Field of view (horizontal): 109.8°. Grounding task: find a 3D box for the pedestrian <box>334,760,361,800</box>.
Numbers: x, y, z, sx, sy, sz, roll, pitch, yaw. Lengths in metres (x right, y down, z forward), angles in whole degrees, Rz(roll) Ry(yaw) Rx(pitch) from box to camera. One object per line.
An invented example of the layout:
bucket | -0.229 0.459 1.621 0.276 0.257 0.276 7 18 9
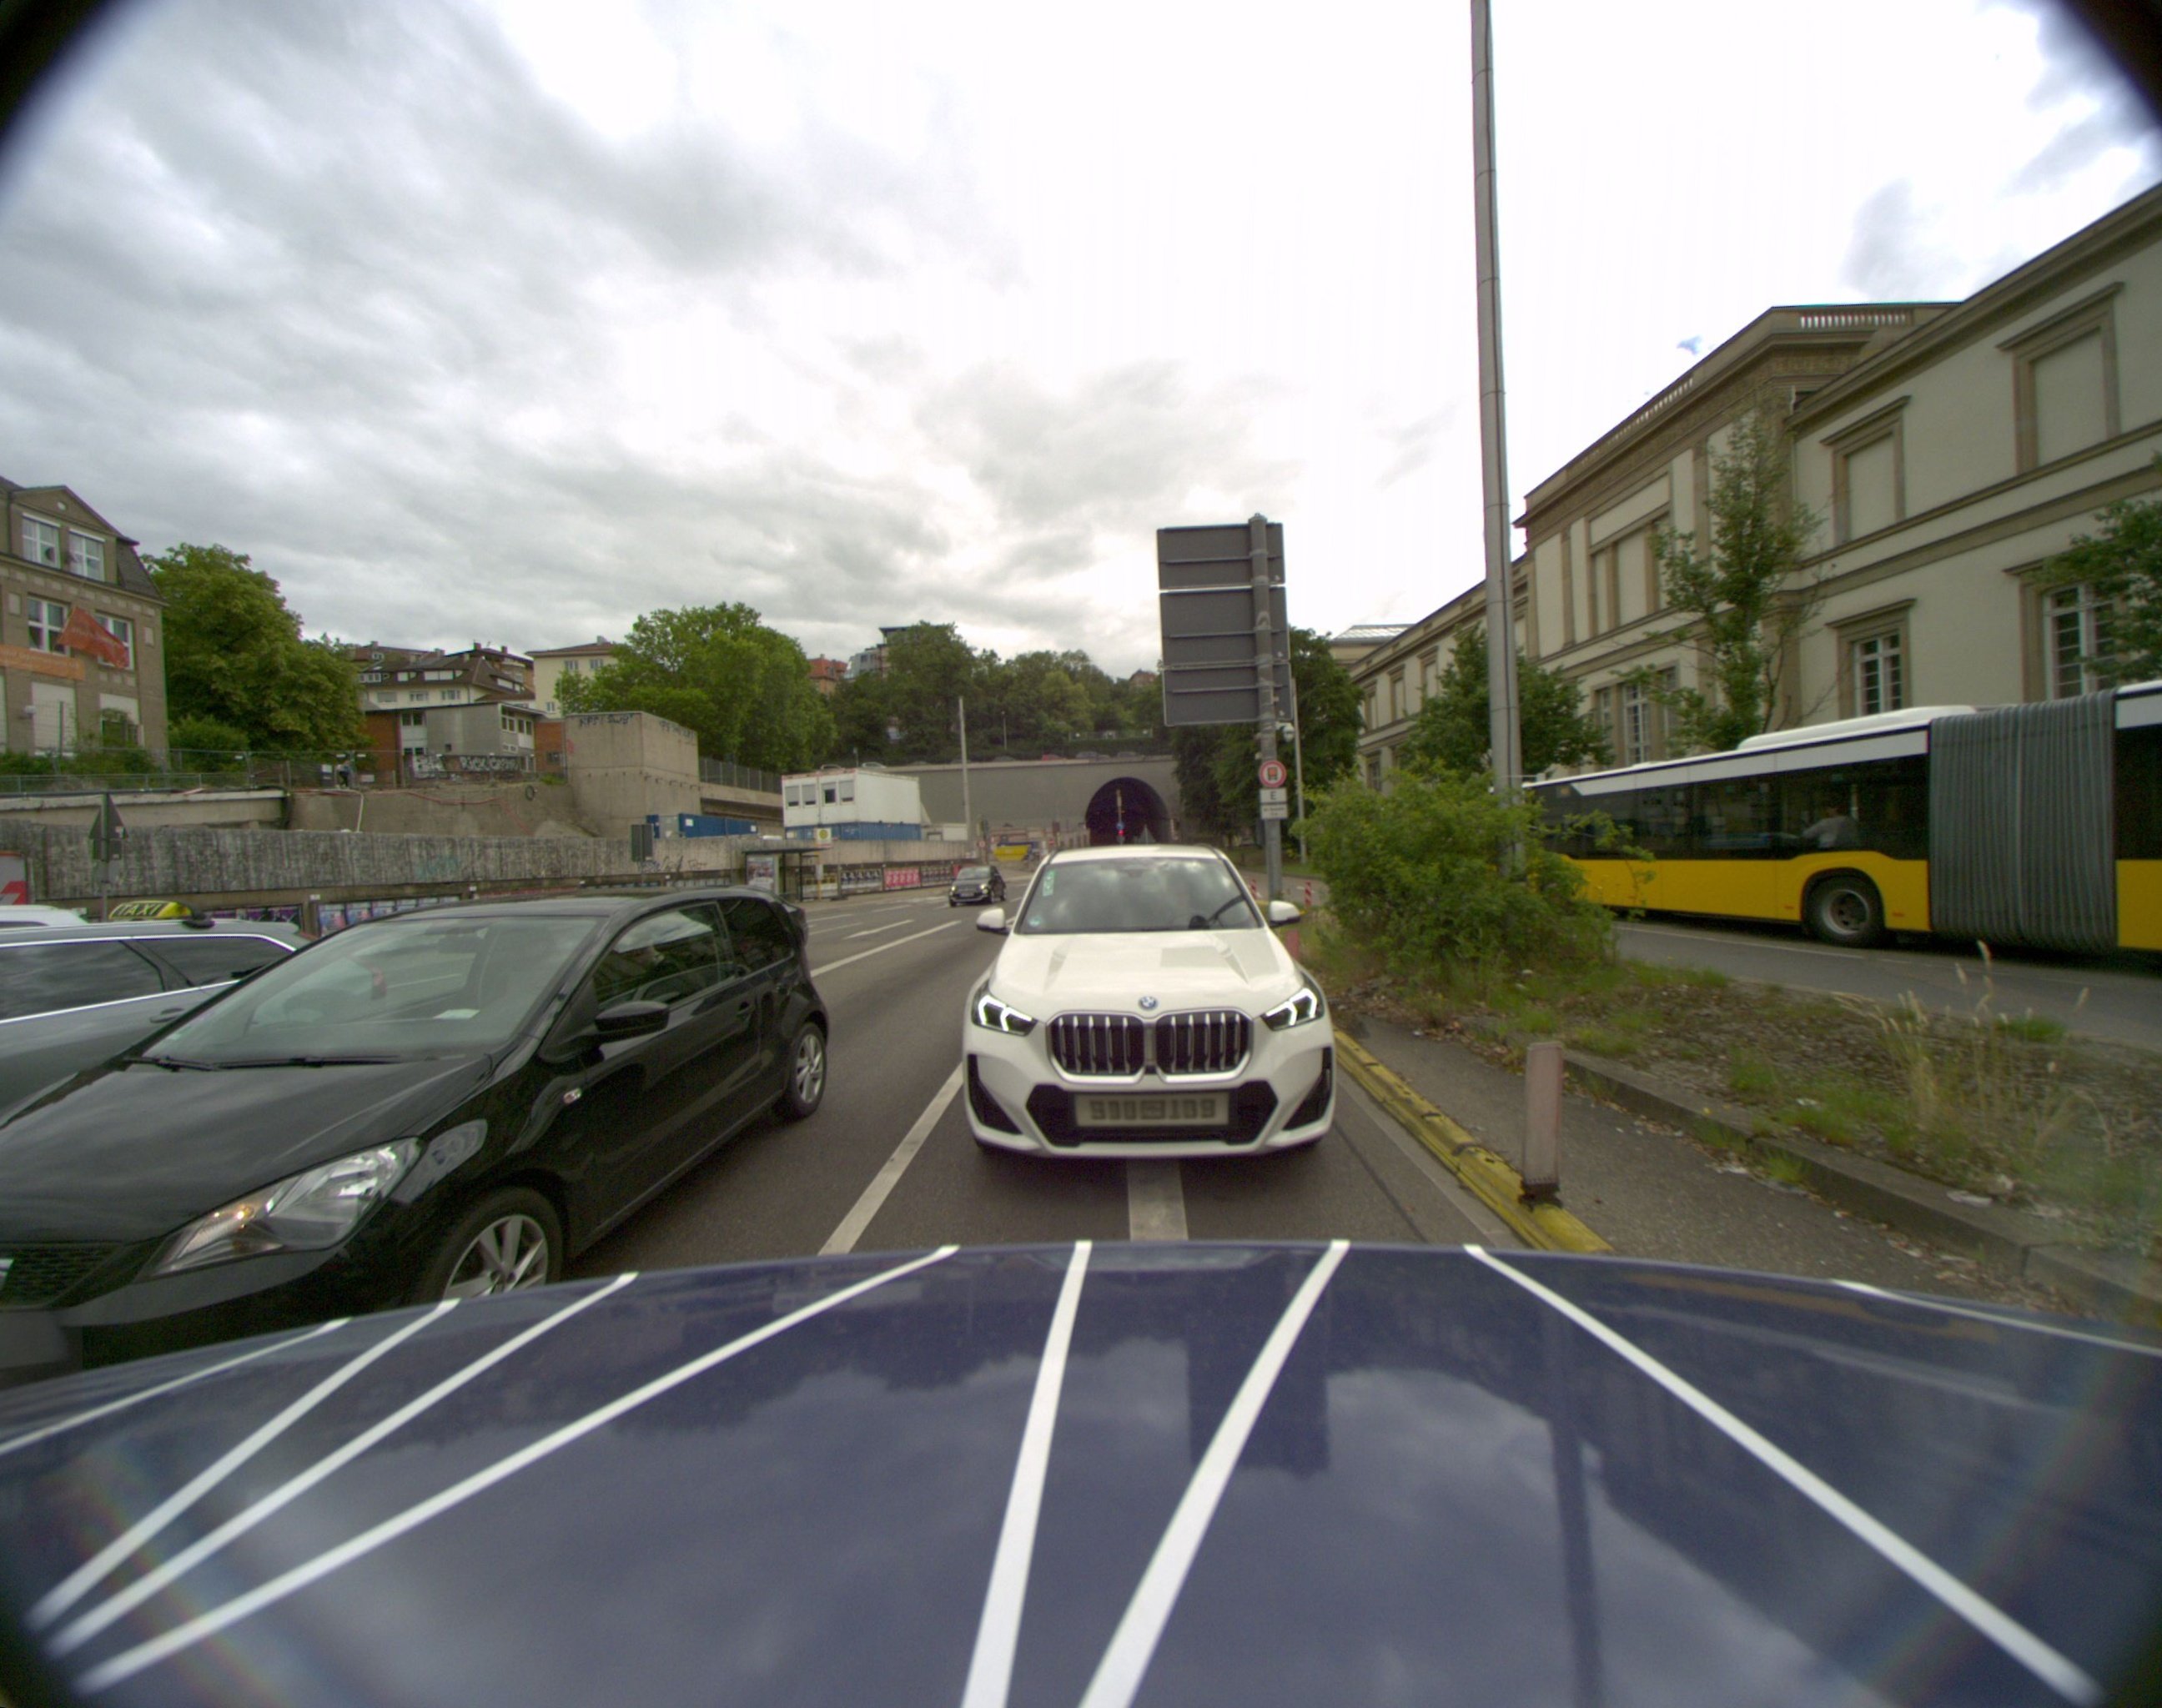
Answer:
pedestrian | -37.993 -3.844 39.361 0.646 2.002 0.666 -2 1 -3

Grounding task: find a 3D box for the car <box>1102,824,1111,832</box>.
car | 5.525 -5.723 167.072 1.711 1.505 4.287 0 0 -3

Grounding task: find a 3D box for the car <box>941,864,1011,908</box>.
car | -3.927 1.167 29.106 1.730 1.435 4.001 -3 0 5

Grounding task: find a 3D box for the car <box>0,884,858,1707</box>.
car | -2.500 1.002 3.413 1.667 1.487 3.882 -3 0 2

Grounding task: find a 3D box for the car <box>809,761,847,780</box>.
car | -31.054 -10.244 93.314 3.998 2.002 1.999 -2 1 -5

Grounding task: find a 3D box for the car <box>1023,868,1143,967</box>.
car | 0.061 0.990 13.305 1.728 1.310 4.000 -3 0 1

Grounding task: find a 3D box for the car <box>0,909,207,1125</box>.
car | -9.164 1.346 4.879 1.704 1.550 4.551 -3 0 1

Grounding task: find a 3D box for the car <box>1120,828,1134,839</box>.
car | 7.158 -3.232 118.259 1.701 1.580 3.882 -3 0 -1

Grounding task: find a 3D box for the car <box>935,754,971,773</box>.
car | -15.794 -11.192 93.900 3.998 2.002 1.999 -2 1 -2

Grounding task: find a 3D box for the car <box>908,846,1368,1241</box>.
car | 0.301 0.798 5.123 1.848 1.581 3.882 -3 0 2

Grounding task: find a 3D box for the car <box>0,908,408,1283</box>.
car | -5.904 1.228 3.168 1.826 1.562 4.654 -3 0 3

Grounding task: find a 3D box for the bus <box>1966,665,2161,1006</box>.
bus | 11.256 -0.219 3.827 2.853 3.096 9.121 -3 0 0

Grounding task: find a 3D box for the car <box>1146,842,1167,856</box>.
car | 8.302 -0.578 83.620 1.705 1.463 4.629 -3 0 -1

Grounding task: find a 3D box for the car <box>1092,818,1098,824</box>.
car | 4.283 -9.687 224.415 1.667 1.582 3.882 -1 0 2

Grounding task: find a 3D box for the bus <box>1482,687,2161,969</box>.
bus | 11.237 -0.308 13.554 2.853 3.096 9.747 -3 0 0

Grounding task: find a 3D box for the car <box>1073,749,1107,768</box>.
car | 1.110 -11.816 94.490 3.998 2.002 1.999 -2 1 -2

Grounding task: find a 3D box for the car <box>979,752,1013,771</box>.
car | -10.475 -11.387 94.011 3.998 2.002 1.999 -2 1 -2

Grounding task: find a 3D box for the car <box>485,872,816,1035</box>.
car | -5.457 1.139 10.498 1.704 1.550 4.551 -3 0 3

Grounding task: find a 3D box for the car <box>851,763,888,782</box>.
car | -26.005 -10.058 93.377 3.998 2.002 1.999 -2 1 -5

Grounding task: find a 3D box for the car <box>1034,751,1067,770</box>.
car | -3.768 -11.637 94.406 3.998 2.002 1.999 -2 1 -2
